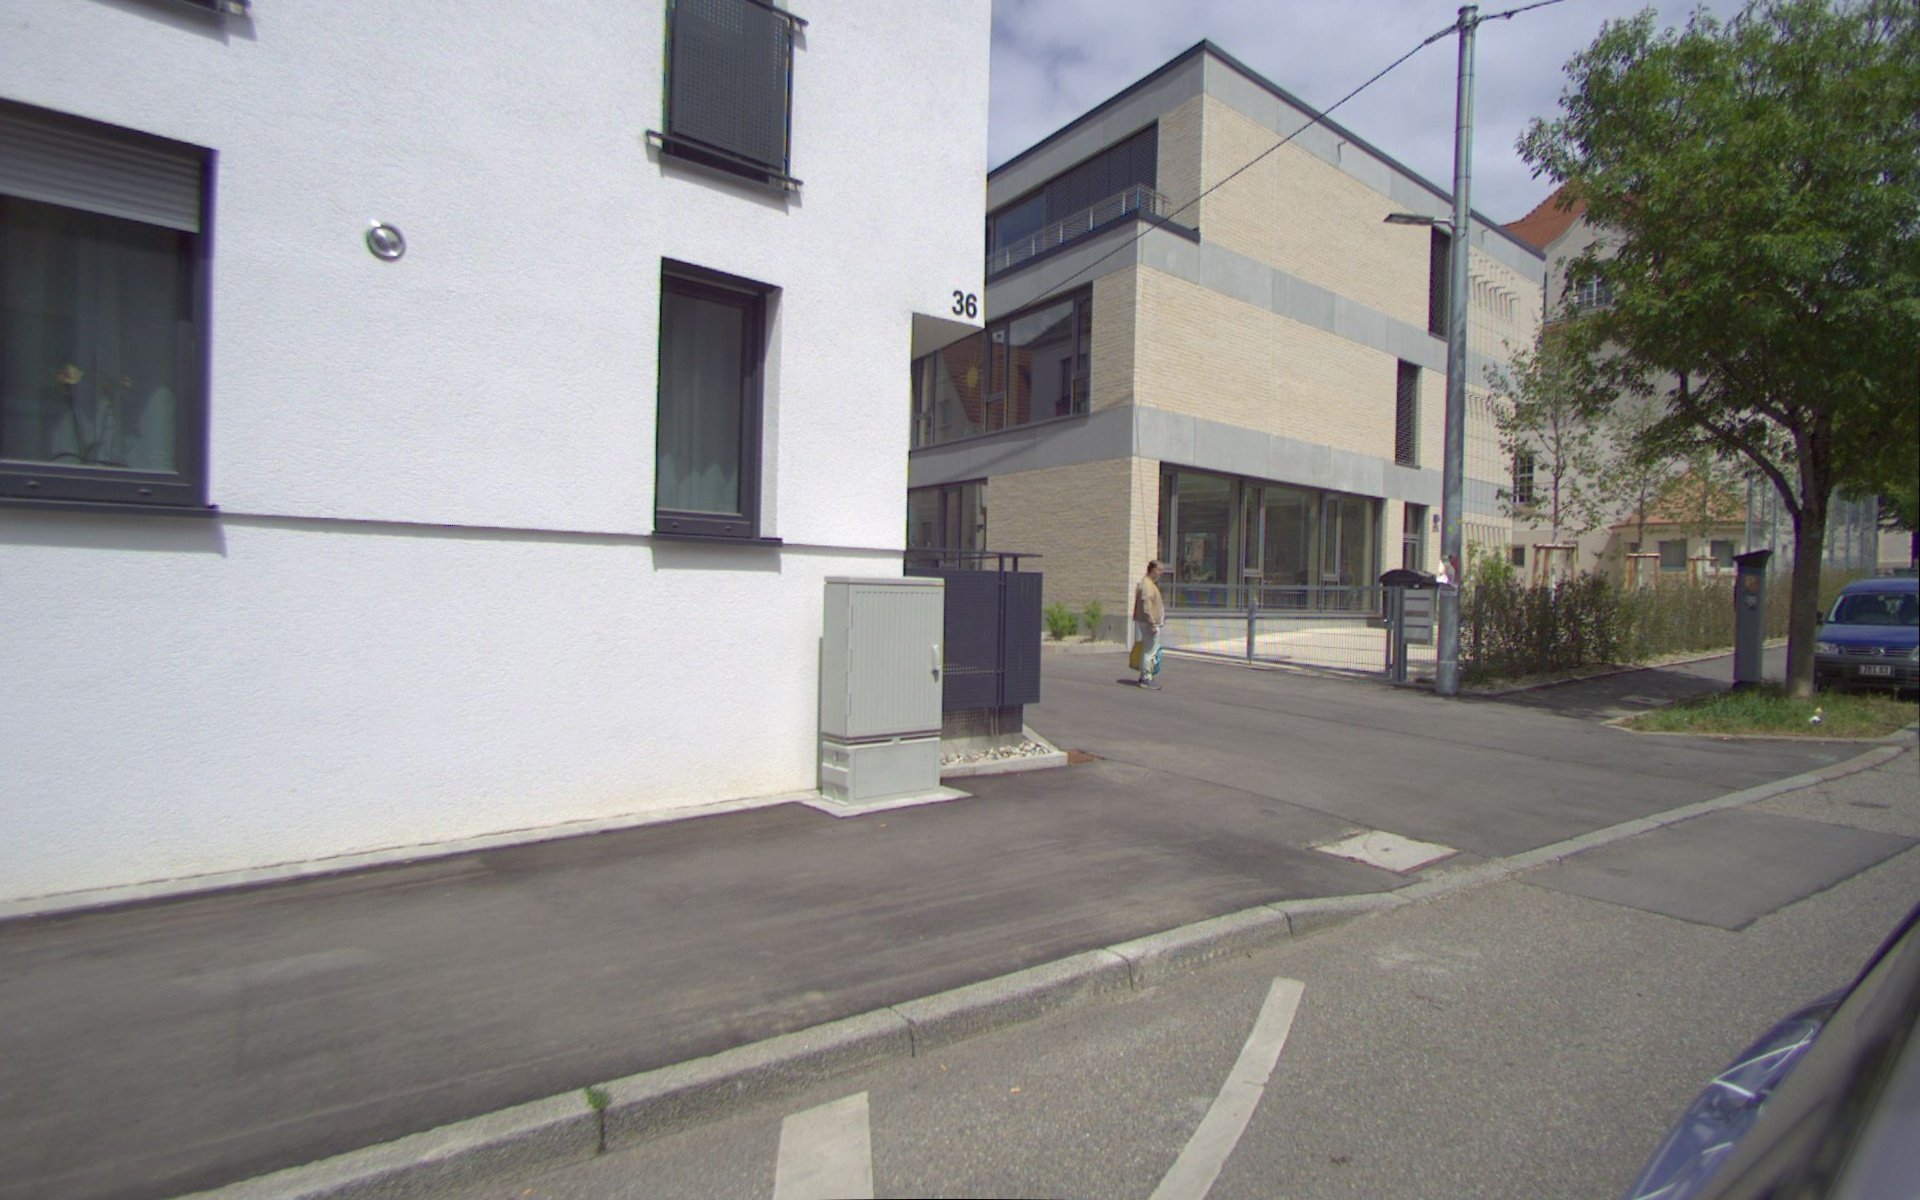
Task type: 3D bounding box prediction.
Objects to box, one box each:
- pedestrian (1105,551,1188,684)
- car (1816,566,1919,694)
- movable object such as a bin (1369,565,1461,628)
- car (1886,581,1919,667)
[{"bbox_3d":[2.516,0.217,13.676,0.815,1.724,0.774,0,1,-41],"label":"pedestrian"},{"bbox_3d":[14.681,0.386,15.524,4.086,1.764,1.698,-1,2,-40],"label":"car"},{"bbox_3d":[10.986,-0.100,24.436,1.774,1.465,1.351,0,1,-39],"label":"movable object such as a bin"},{"bbox_3d":[18.948,0.435,19.128,3.605,1.538,1.677,-1,2,-40],"label":"car"}]
